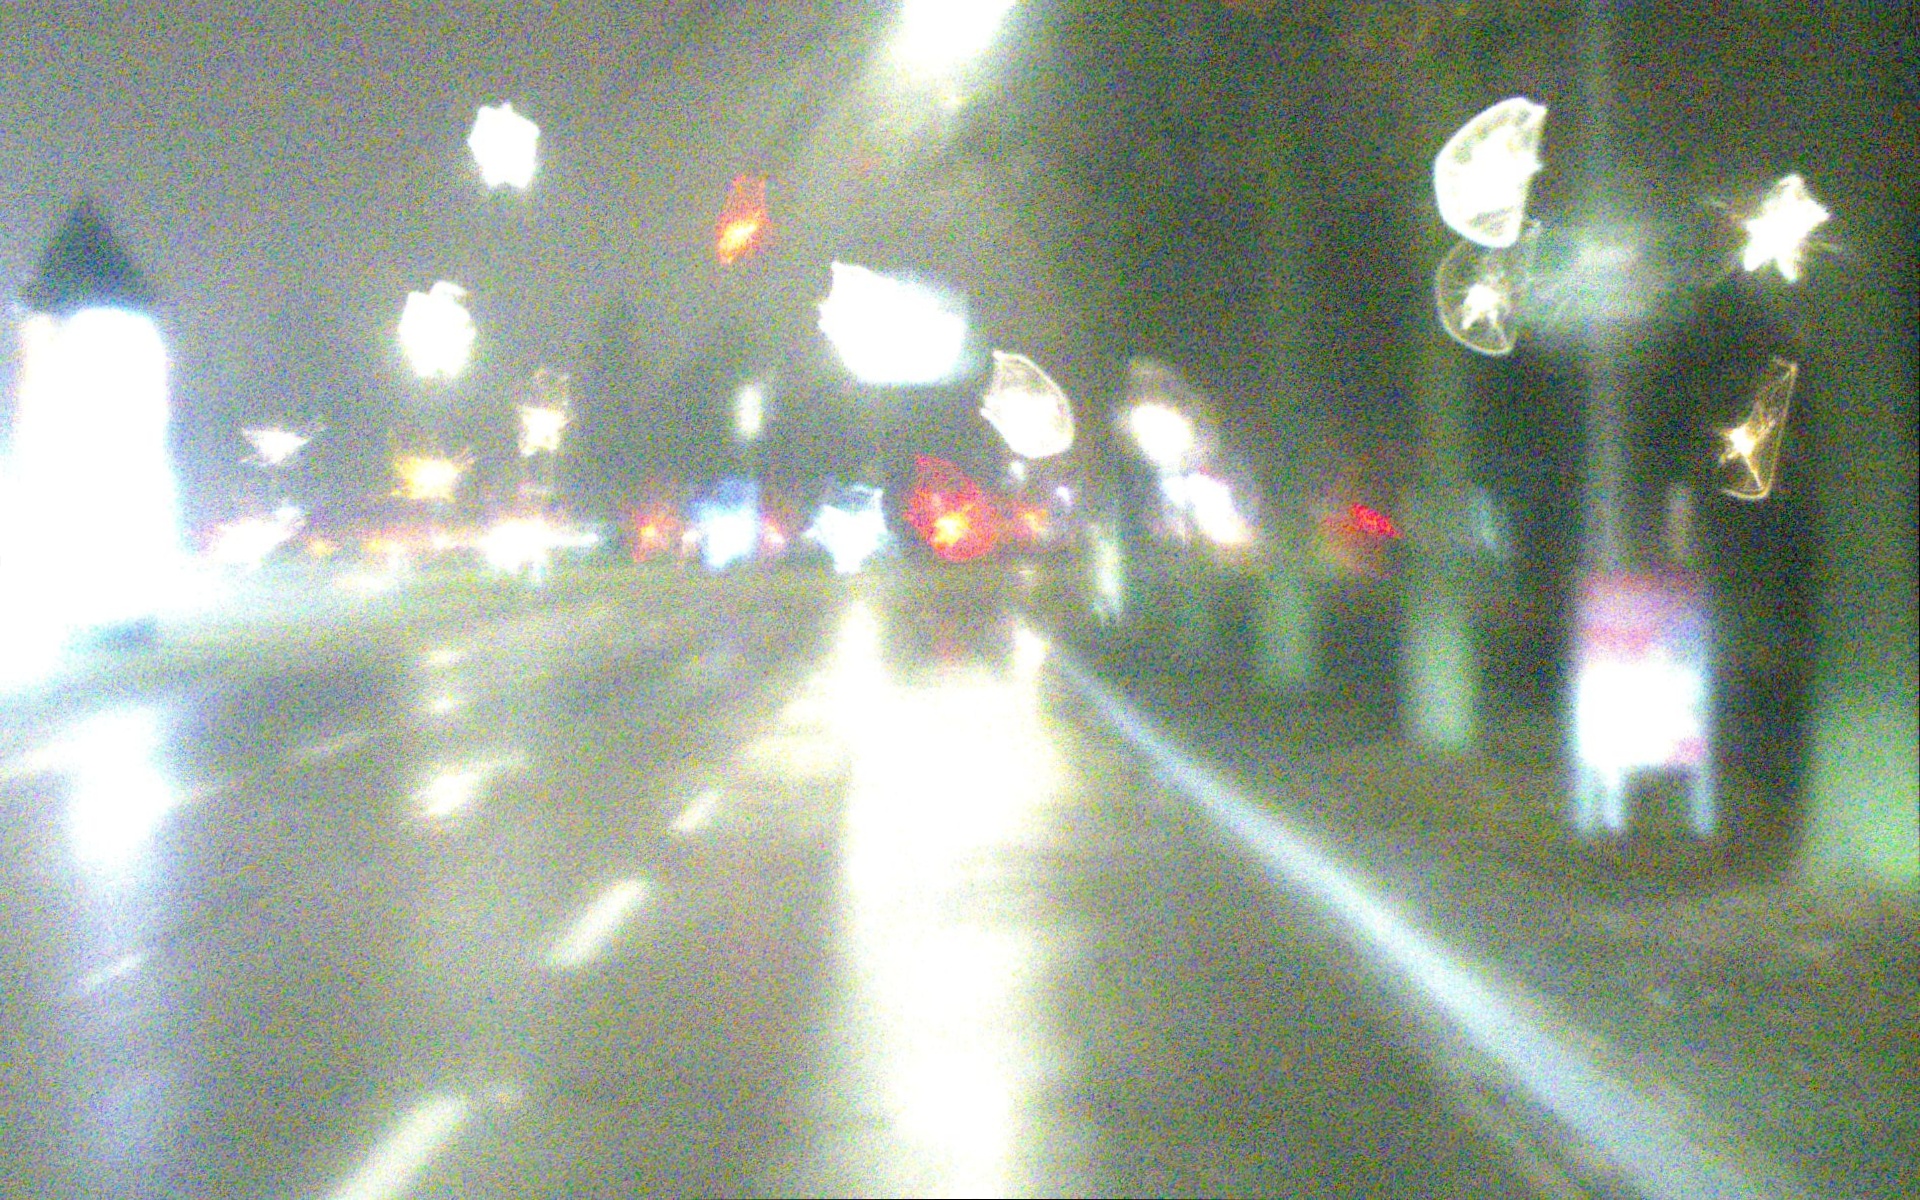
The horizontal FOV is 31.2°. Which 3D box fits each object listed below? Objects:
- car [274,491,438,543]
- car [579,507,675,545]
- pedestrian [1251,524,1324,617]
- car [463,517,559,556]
[{"bbox_3d":[-25.216,-3.456,143.575,6.292,2.082,2.516,0,2,-25],"label":"car"},{"bbox_3d":[-14.066,-3.130,145.323,3.951,1.573,1.737,0,1,-3],"label":"car"},{"bbox_3d":[6.356,-0.583,66.816,1.227,1.787,1.490,0,1,-1],"label":"pedestrian"},{"bbox_3d":[-19.014,-2.713,145.686,3.986,1.610,1.837,0,1,-7],"label":"car"}]
